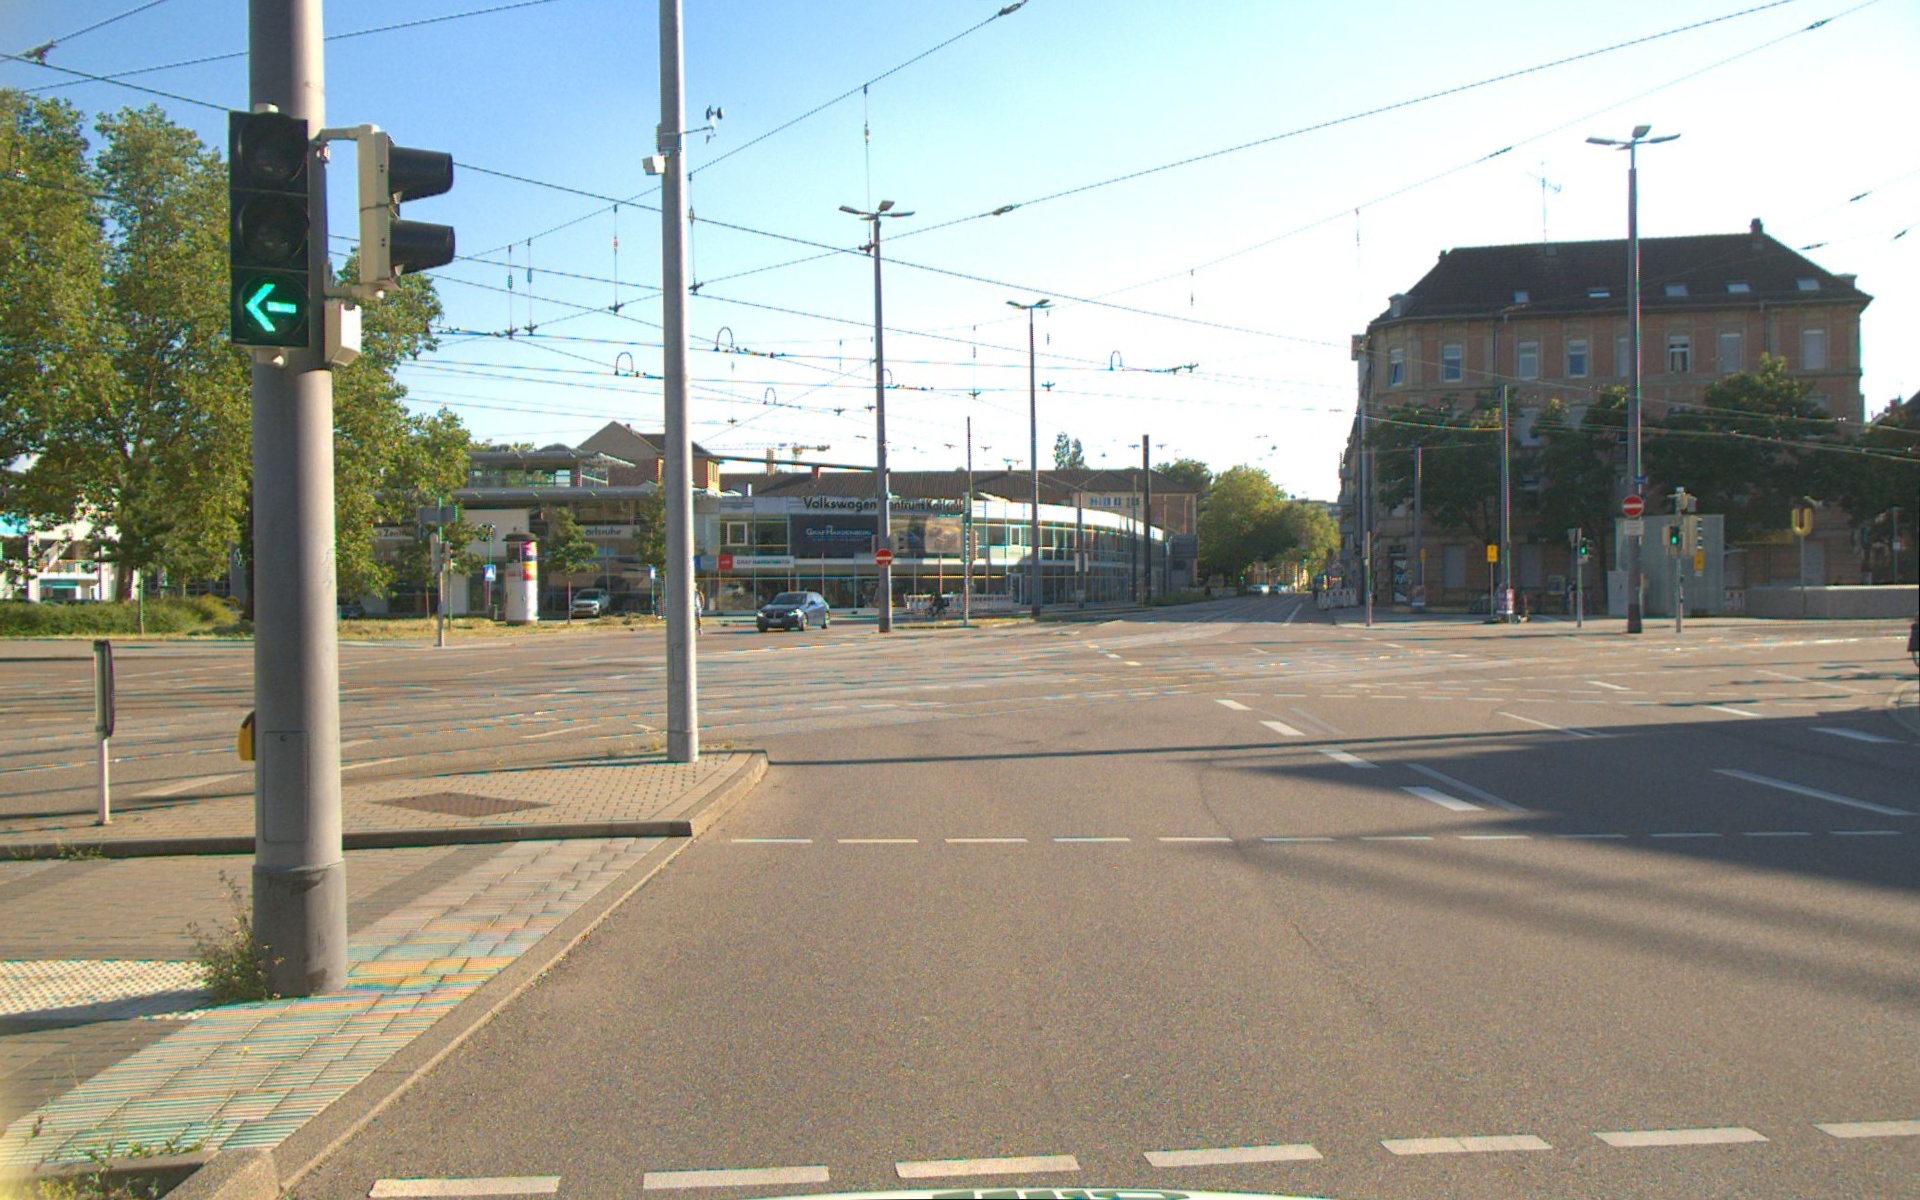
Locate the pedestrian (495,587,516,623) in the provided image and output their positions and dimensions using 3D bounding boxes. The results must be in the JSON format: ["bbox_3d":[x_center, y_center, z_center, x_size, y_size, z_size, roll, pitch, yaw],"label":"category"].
[{"bbox_3d":[-21.906,0.244,79.690,0.839,1.723,0.496,1,-1,-3],"label":"pedestrian"}]

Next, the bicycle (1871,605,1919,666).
[{"bbox_3d":[17.536,0.653,29.911,0.524,1.067,2.316,1,1,-9],"label":"bicycle"}]

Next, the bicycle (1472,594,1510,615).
[{"bbox_3d":[25.028,0.213,77.947,1.566,0.969,0.657,1,-1,33],"label":"bicycle"}]

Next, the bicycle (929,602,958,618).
[{"bbox_3d":[-0.928,0.589,93.634,0.626,0.886,2.231,1,0,29],"label":"bicycle"}]

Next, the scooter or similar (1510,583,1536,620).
[{"bbox_3d":[21.580,0.060,63.424,0.769,1.400,1.910,1,0,13],"label":"scooter or similar"}]

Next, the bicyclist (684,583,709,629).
[{"bbox_3d":[-9.522,0.225,59.733,0.585,1.644,0.823,1,-1,17],"label":"bicyclist"}]

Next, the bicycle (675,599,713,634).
[{"bbox_3d":[-9.574,0.593,59.583,0.599,1.210,1.870,1,0,17],"label":"bicycle"}]

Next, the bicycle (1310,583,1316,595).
[{"bbox_3d":[29.359,-0.937,137.582,0.401,0.958,1.847,1,0,12],"label":"bicycle"}]

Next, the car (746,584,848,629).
[{"bbox_3d":[-6.037,0.260,61.577,1.954,1.613,3.996,1,0,26],"label":"car"}]

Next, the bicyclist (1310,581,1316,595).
[{"bbox_3d":[29.332,-1.020,137.476,0.399,1.136,0.399,1,-1,11],"label":"bicyclist"}]

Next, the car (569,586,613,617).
[{"bbox_3d":[-22.029,0.105,98.897,1.954,1.780,3.997,1,0,-4],"label":"car"}]

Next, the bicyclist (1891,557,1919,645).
[{"bbox_3d":[17.514,0.029,30.107,0.505,1.584,0.945,1,-1,-10],"label":"bicyclist"}]

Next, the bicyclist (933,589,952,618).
[{"bbox_3d":[-0.988,0.216,93.528,0.641,1.600,0.921,1,-1,28],"label":"bicyclist"}]

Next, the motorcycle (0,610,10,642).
[{"bbox_3d":[-28.928,0.738,48.491,1.748,0.930,0.675,1,-1,-21],"label":"motorcycle"}]

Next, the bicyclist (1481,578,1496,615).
[{"bbox_3d":[24.928,-0.182,78.004,0.505,1.730,0.519,1,-1,33],"label":"bicyclist"}]
